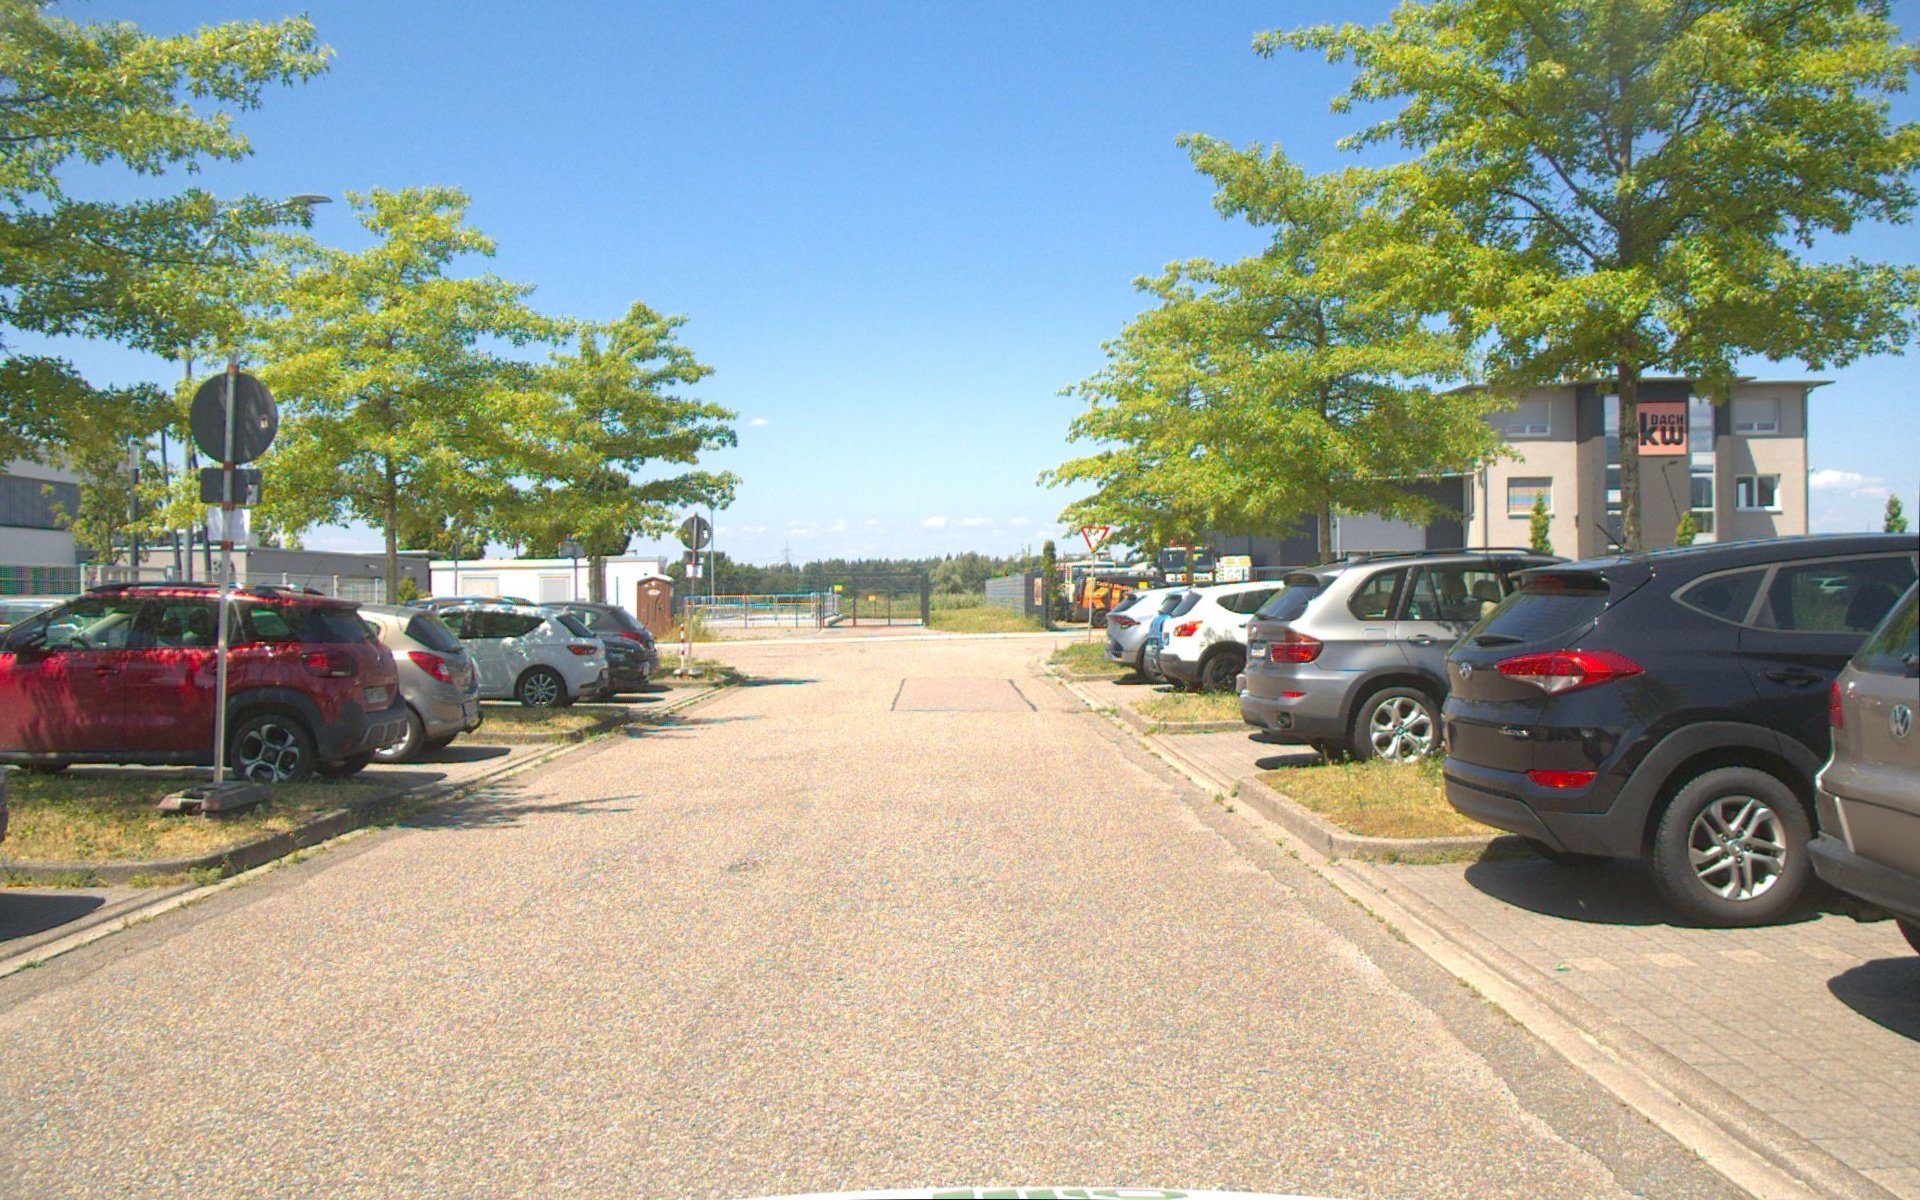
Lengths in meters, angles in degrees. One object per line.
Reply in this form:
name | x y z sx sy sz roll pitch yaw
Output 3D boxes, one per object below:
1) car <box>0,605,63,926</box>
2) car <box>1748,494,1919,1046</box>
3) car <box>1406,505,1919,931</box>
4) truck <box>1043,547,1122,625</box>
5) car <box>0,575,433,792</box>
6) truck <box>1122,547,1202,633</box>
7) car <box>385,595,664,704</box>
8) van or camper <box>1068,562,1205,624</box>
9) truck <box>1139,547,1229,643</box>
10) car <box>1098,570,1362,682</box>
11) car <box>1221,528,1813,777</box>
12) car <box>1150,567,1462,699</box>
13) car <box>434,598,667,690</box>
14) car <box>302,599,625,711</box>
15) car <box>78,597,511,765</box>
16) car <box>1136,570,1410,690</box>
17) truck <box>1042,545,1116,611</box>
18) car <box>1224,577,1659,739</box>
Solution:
car | -6.562 0.740 7.406 4.107 1.506 1.712 1 0 -1
car | 4.838 0.444 5.229 3.796 1.707 1.782 -3 0 -1
car | 4.459 0.437 7.931 4.089 1.726 1.781 -3 0 -2
truck | 5.175 -0.579 70.898 2.671 3.115 6.934 -1 0 -1
car | -6.512 0.638 13.740 3.661 1.650 1.816 1 0 0
truck | 9.933 -0.488 82.038 2.862 3.998 6.934 -1 0 -1
car | -6.636 0.741 25.515 3.849 1.547 1.784 1 0 -4
van or camper | 6.559 -0.280 61.879 4.836 2.201 2.000 -1 1 -2
truck | 9.947 -0.238 73.999 2.862 3.998 6.934 -1 0 -1
car | 4.578 0.432 28.523 4.192 1.673 1.850 -2 0 -1
car | 4.641 0.407 14.244 4.360 1.799 1.992 -2 0 -3
car | 4.828 0.464 23.491 3.985 1.636 1.901 -2 -1 0
car | -6.903 0.728 28.135 3.553 1.461 1.725 1 0 -4
car | -6.871 0.751 23.234 3.995 1.449 1.872 1 0 -5
car | -6.450 0.764 16.356 3.585 1.535 1.730 1 0 -5
car | 4.857 0.451 26.045 3.906 1.673 1.837 -2 0 -2
truck | 5.676 -1.038 79.932 2.862 2.989 6.934 -1 0 -1
car | 4.799 0.574 16.907 3.843 1.434 1.909 -2 -1 -1
